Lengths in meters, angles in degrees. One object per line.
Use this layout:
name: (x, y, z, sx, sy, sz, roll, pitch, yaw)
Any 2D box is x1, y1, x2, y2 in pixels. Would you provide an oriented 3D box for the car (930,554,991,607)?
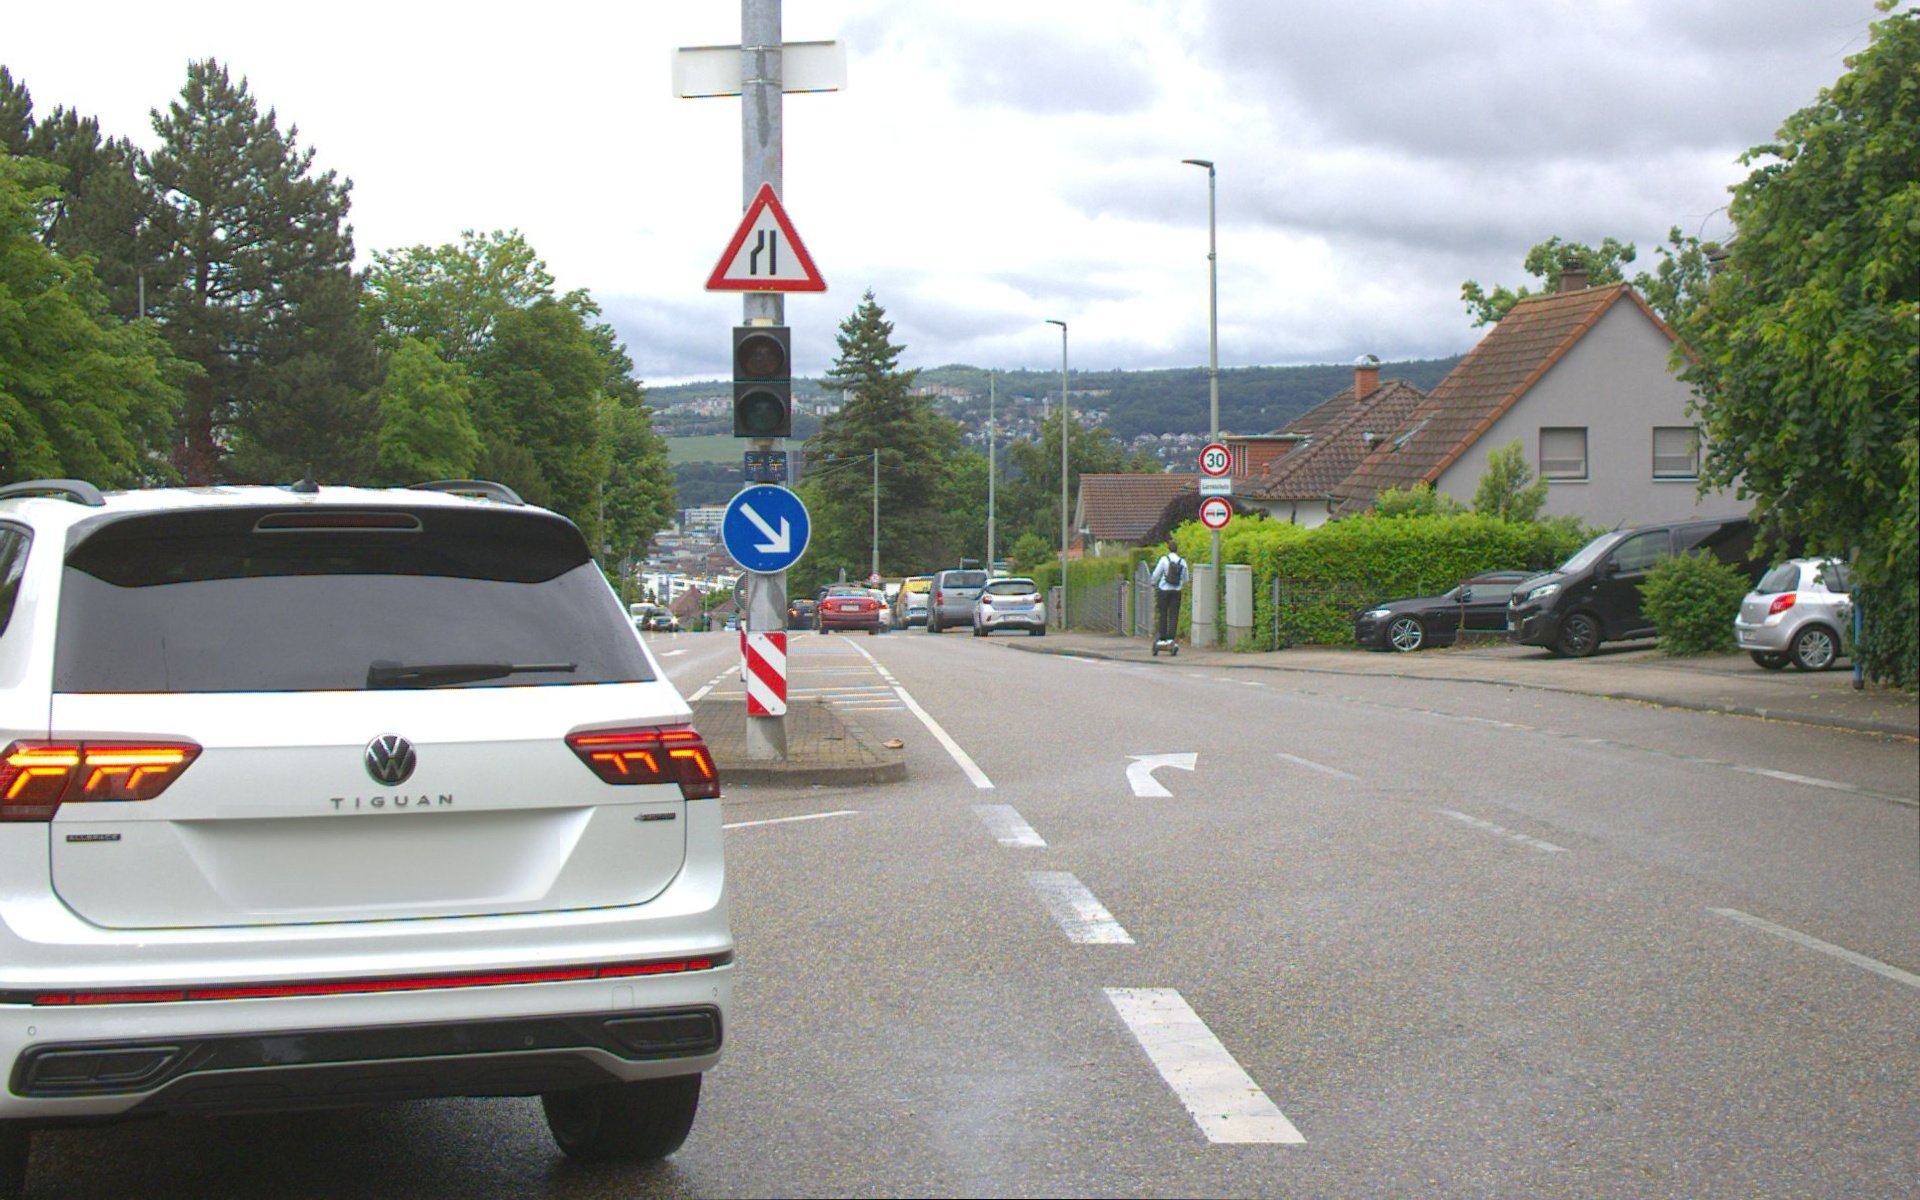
car: (-0.003, -0.631, 107.614, 1.850, 1.569, 4.000, 1, 1, -1)

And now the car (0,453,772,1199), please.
car: (-2.055, 0.525, 9.004, 1.762, 1.690, 4.274, 0, 1, -23)

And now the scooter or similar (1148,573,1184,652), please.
scooter or similar: (3.618, 0.218, 60.485, 0.461, 1.356, 1.385, 0, 1, -4)

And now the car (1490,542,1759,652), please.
car: (9.976, -0.058, 51.768, 3.626, 1.620, 1.791, 0, 1, -5)

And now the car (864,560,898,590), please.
car: (-4.344, -1.403, 189.501, 1.850, 1.569, 4.000, -1, 1, -1)

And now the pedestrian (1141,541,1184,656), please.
pedestrian: (3.559, -0.031, 60.405, 0.655, 1.995, 0.718, 0, 1, -4)

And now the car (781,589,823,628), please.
car: (-7.618, 0.403, 166.136, 1.887, 1.787, 4.000, 0, 1, -1)

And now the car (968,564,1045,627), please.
car: (1.186, -0.118, 89.236, 1.850, 1.569, 4.000, 1, 0, -1)

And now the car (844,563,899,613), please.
car: (-2.910, -0.410, 113.659, 1.738, 1.569, 4.000, -1, 1, -1)

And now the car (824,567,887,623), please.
car: (-3.033, -0.168, 100.837, 1.754, 1.569, 4.000, -1, 1, -1)

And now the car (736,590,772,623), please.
car: (-11.626, 0.368, 194.197, 1.887, 1.787, 4.000, 0, 1, -2)

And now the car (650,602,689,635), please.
car: (-15.816, 1.010, 187.333, 1.844, 1.711, 4.000, 0, 1, -1)

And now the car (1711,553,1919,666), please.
car: (11.717, 0.112, 44.017, 3.713, 1.390, 1.729, -1, 0, -8)

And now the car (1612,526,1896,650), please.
car: (11.379, -0.184, 49.402, 3.627, 1.740, 1.708, 0, 1, -4)

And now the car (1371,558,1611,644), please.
car: (8.730, 0.027, 56.685, 3.687, 1.365, 1.519, 1, -1, -2)

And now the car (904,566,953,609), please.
car: (-1.208, -0.480, 132.561, 1.850, 1.569, 4.000, -1, 1, -1)
